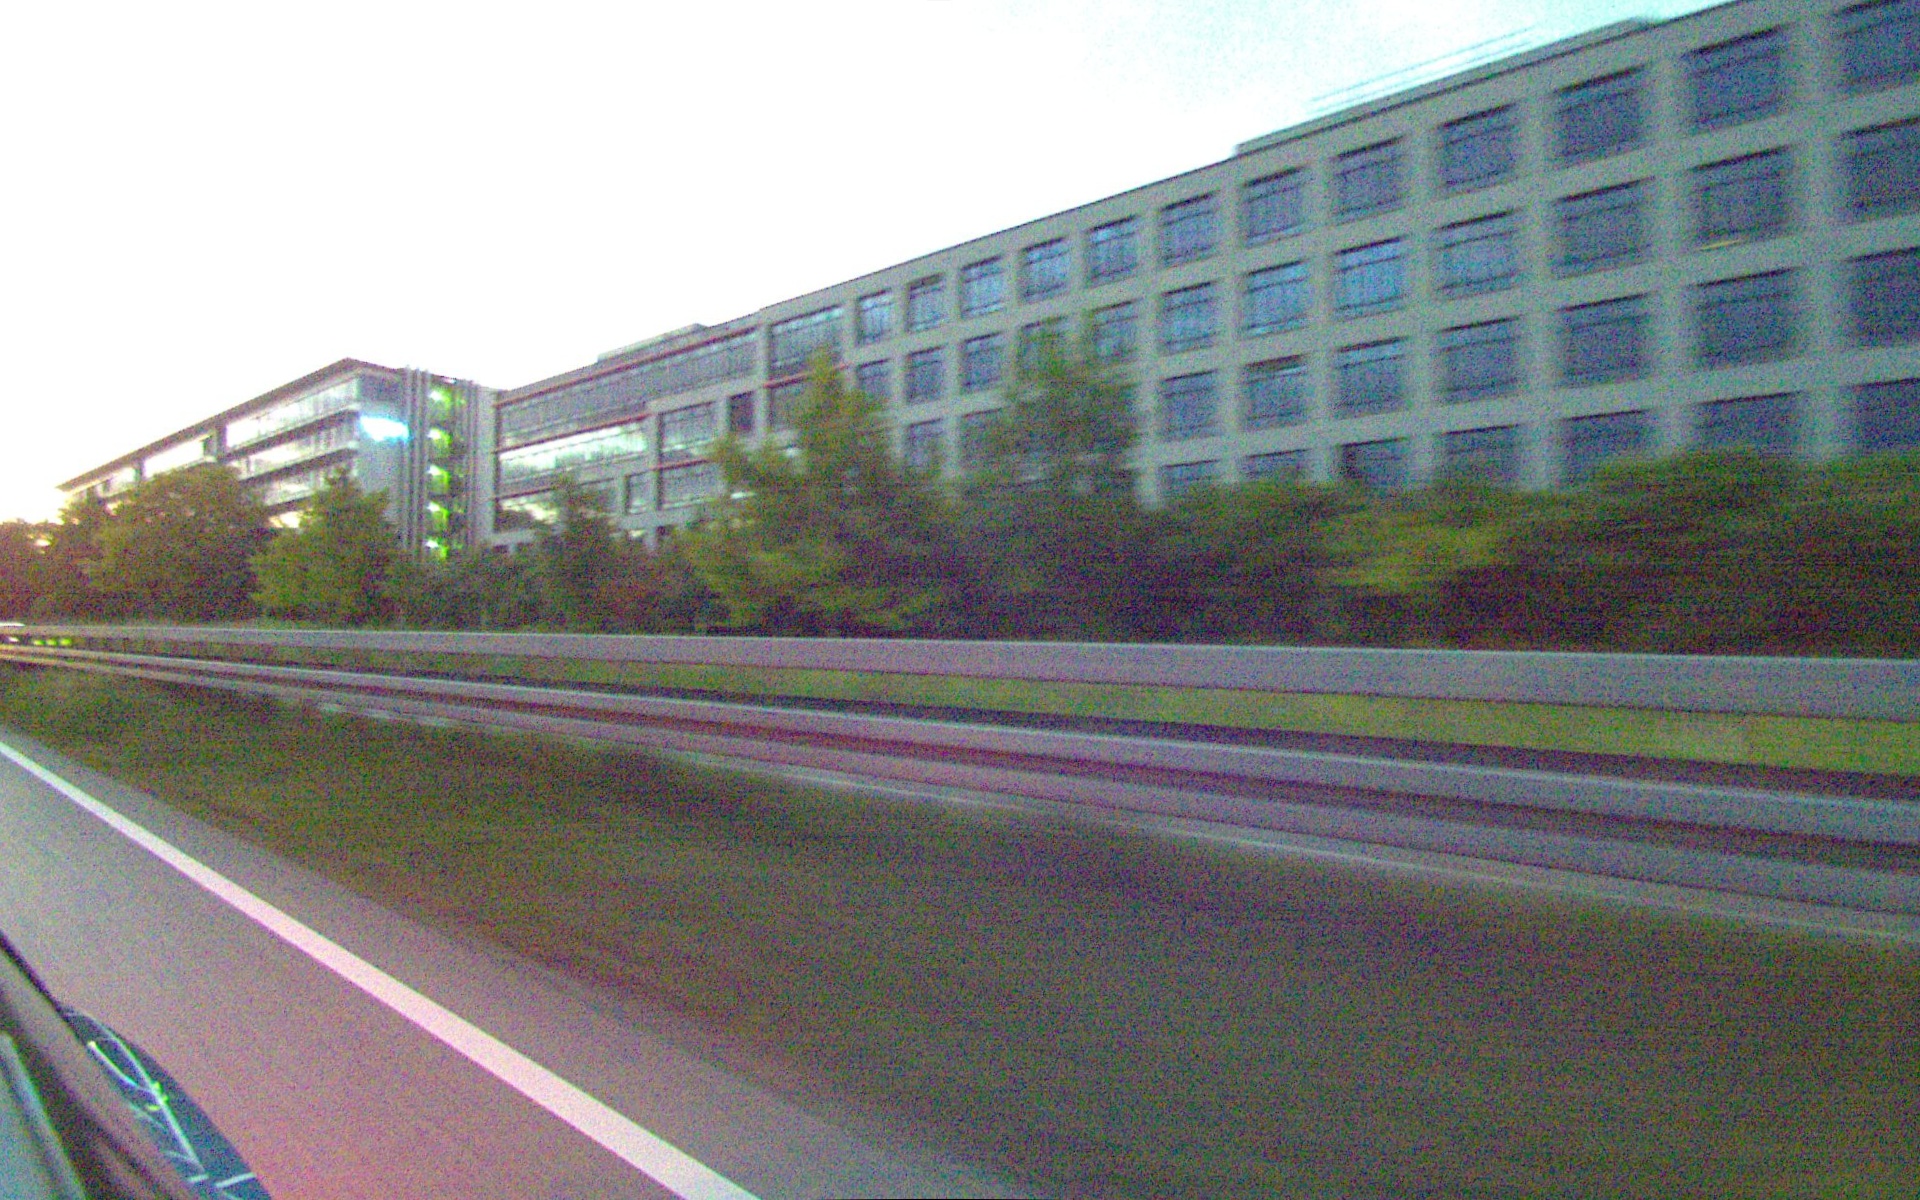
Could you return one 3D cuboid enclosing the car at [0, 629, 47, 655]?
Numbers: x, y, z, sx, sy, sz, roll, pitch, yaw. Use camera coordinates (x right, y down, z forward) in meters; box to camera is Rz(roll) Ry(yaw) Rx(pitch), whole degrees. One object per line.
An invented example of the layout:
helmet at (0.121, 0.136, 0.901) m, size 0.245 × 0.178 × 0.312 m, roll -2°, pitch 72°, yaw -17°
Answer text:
car at (-57.038, 2.534, 61.395) m, size 3.841 × 1.480 × 1.817 m, roll -2°, pitch -5°, yaw 39°
